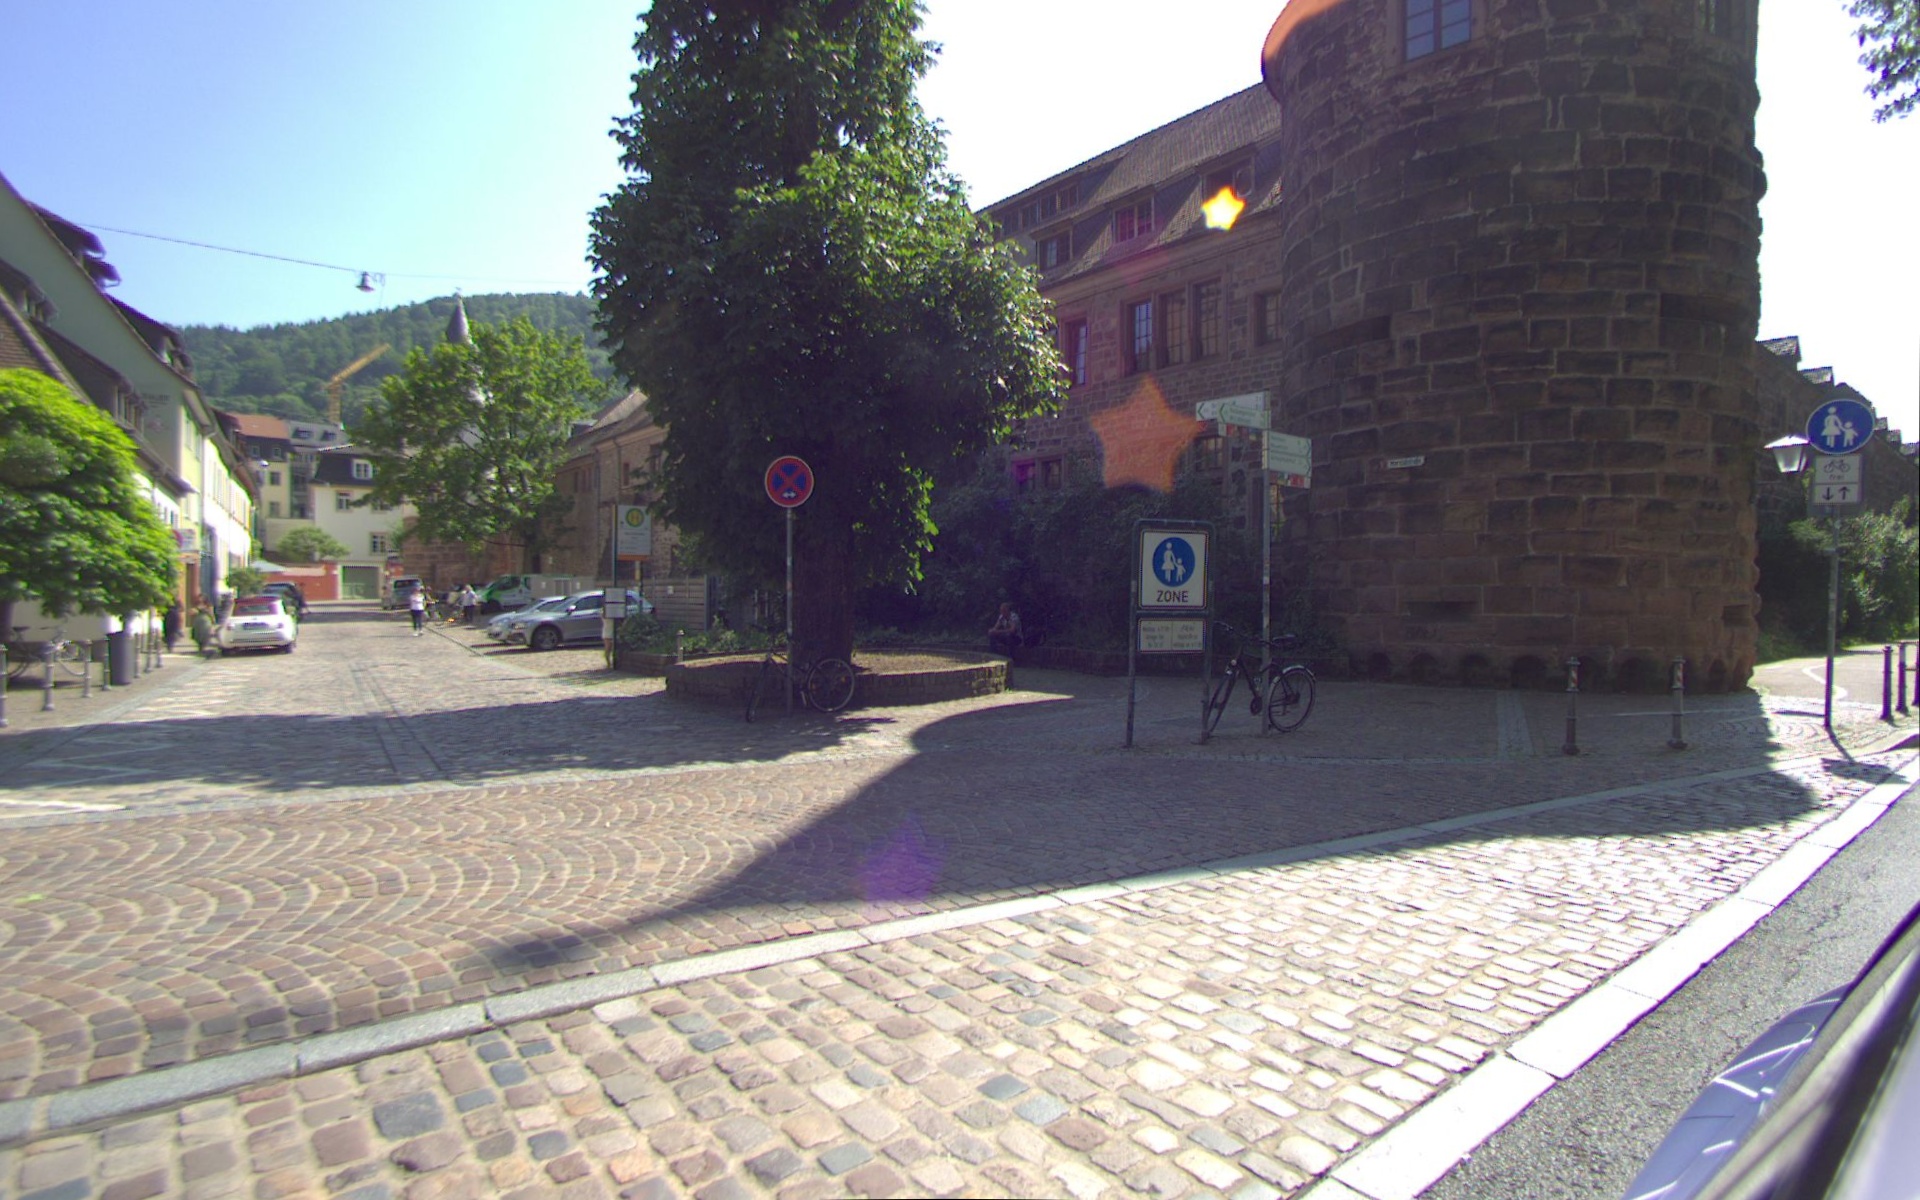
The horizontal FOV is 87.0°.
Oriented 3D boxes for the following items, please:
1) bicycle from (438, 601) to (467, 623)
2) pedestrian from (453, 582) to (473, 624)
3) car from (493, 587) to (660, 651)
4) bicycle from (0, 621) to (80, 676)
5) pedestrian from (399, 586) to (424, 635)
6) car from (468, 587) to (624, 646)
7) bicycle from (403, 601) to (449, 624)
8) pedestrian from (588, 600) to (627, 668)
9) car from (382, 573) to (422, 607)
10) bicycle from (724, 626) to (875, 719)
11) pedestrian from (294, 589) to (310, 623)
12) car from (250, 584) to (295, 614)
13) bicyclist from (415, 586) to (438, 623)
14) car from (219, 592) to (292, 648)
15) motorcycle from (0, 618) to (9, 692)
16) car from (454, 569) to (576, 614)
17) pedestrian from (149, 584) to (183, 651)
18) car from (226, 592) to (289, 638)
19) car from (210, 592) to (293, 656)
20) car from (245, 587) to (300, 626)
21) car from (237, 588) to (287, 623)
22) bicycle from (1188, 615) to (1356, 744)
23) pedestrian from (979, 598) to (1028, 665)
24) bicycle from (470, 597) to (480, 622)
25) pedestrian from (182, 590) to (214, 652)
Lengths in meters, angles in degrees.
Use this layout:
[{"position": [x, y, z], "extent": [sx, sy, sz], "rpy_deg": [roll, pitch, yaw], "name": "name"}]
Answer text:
[{"position": [-22.124, 0.515, 44.112], "extent": [1.605, 0.933, 0.582], "rpy_deg": [1, 1, 40], "name": "bicycle"}, {"position": [-20.728, 0.120, 42.210], "extent": [0.649, 1.762, 0.711], "rpy_deg": [0, 0, -35], "name": "pedestrian"}, {"position": [-11.628, 0.505, 30.784], "extent": [4.345, 1.636, 1.999], "rpy_deg": [-3, 3, -37], "name": "car"}, {"position": [-17.923, 0.917, 19.292], "extent": [0.421, 1.027, 1.687], "rpy_deg": [0, -2, 44], "name": "bicycle"}, {"position": [-19.748, 0.367, 36.448], "extent": [0.698, 1.762, 0.662], "rpy_deg": [0, 0, -35], "name": "pedestrian"}, {"position": [-13.562, 0.489, 33.263], "extent": [4.345, 1.636, 1.999], "rpy_deg": [-3, 3, -37], "name": "car"}, {"position": [-22.709, 0.529, 43.051], "extent": [1.582, 0.933, 0.671], "rpy_deg": [1, 0, 2], "name": "bicycle"}, {"position": [-7.656, 0.724, 22.008], "extent": [0.660, 1.439, 0.663], "rpy_deg": [-2, 0, -9], "name": "pedestrian"}, {"position": [-34.321, -0.571, 62.184], "extent": [1.765, 1.900, 4.271], "rpy_deg": [-2, 0, -33], "name": "car"}, {"position": [-1.933, 0.846, 12.262], "extent": [1.679, 1.015, 0.660], "rpy_deg": [0, 0, -30], "name": "bicycle"}, {"position": [-34.356, 0.288, 52.821], "extent": [0.648, 1.762, 0.712], "rpy_deg": [0, 0, -29], "name": "pedestrian"}, {"position": [-36.091, -0.092, 53.229], "extent": [1.765, 1.422, 4.146], "rpy_deg": [-2, 2, -32], "name": "car"}, {"position": [-22.700, 0.189, 43.040], "extent": [0.621, 1.564, 0.647], "rpy_deg": [1, 0, 2], "name": "bicyclist"}, {"position": [-22.412, 0.584, 32.282], "extent": [1.765, 1.548, 4.145], "rpy_deg": [-2, 2, -34], "name": "car"}, {"position": [-16.194, 0.863, 15.815], "extent": [0.597, 1.175, 1.887], "rpy_deg": [0, -2, 44], "name": "motorcycle"}, {"position": [-22.320, -0.476, 50.913], "extent": [5.297, 2.149, 1.998], "rpy_deg": [-1, 1, -39], "name": "car"}, {"position": [-21.249, 0.465, 27.093], "extent": [0.661, 1.762, 0.662], "rpy_deg": [0, 0, -35], "name": "pedestrian"}, {"position": [-25.378, 0.495, 36.641], "extent": [1.765, 1.422, 4.145], "rpy_deg": [-2, 2, -34], "name": "car"}, {"position": [-19.926, 0.604, 28.554], "extent": [1.765, 1.548, 4.145], "rpy_deg": [-2, 2, -34], "name": "car"}, {"position": [-28.145, 0.228, 41.480], "extent": [1.765, 1.422, 4.145], "rpy_deg": [-2, 2, -34], "name": "car"}, {"position": [-31.756, 0.197, 46.104], "extent": [1.765, 1.422, 4.145], "rpy_deg": [-2, 2, -34], "name": "car"}, {"position": [3.267, 0.768, 10.524], "extent": [1.812, 1.167, 0.844], "rpy_deg": [-1, 0, -41], "name": "bicycle"}, {"position": [0.833, 0.581, 19.319], "extent": [0.661, 1.247, 0.774], "rpy_deg": [0, 0, 30], "name": "pedestrian"}, {"position": [-20.723, 0.402, 43.250], "extent": [0.307, 1.002, 1.390], "rpy_deg": [0, 1, -28], "name": "bicycle"}, {"position": [-20.708, 0.550, 27.503], "extent": [0.661, 1.650, 0.662], "rpy_deg": [0, 0, -35], "name": "pedestrian"}]
